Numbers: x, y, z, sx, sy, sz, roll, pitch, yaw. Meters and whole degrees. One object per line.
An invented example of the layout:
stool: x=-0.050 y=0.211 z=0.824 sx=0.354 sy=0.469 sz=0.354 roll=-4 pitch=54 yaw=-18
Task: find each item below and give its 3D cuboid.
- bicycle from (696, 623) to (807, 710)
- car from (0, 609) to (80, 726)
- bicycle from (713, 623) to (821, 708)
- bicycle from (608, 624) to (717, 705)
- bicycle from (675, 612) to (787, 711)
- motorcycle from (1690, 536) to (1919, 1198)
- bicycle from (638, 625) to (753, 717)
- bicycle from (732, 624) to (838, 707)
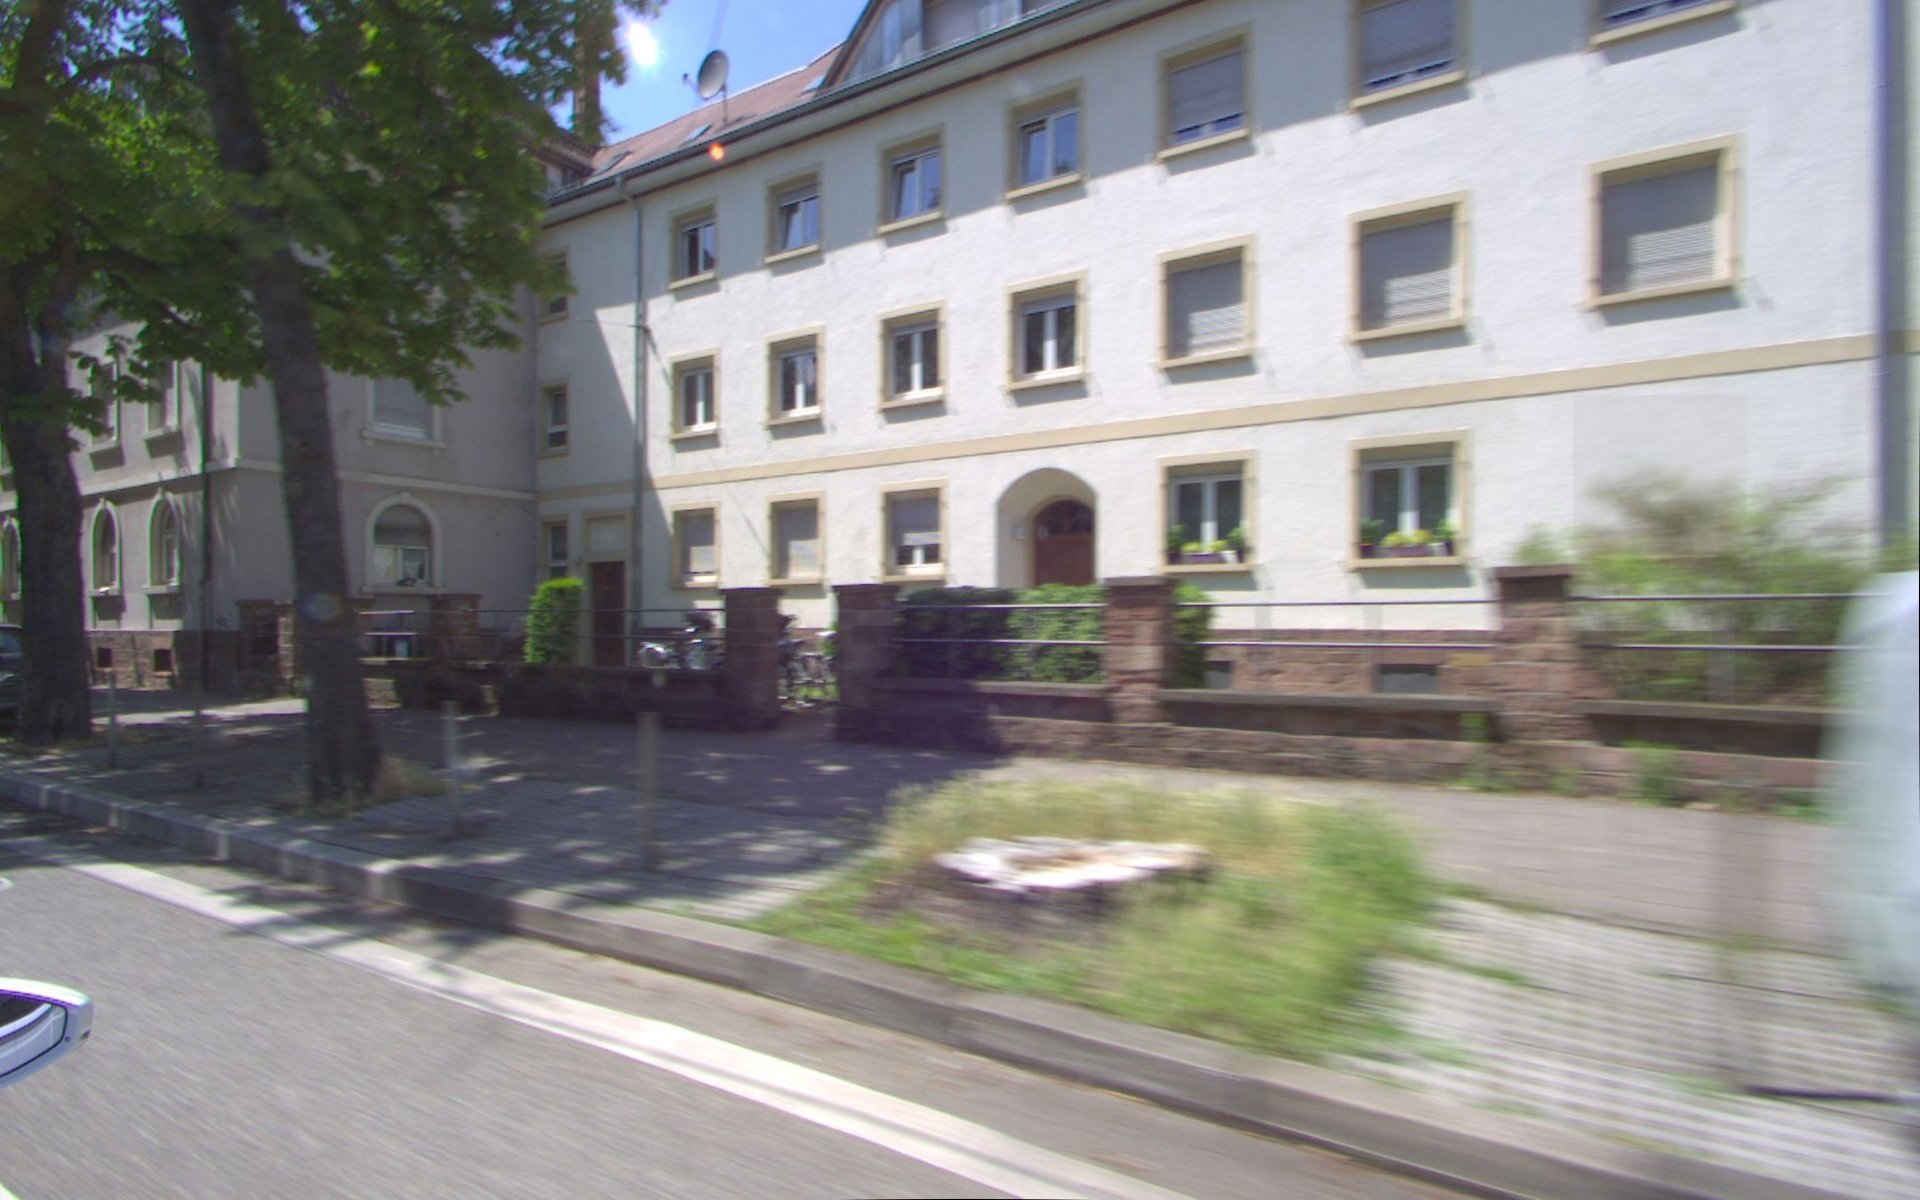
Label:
bicycle: x=-2.760 y=0.847 z=13.192 sx=1.542 sy=1.070 sz=0.458 roll=0 pitch=1 yaw=33
car: x=-14.527 y=0.916 z=14.284 sx=4.242 sy=1.521 sz=1.770 roll=0 pitch=1 yaw=32
bicycle: x=-2.616 y=0.862 z=13.493 sx=1.542 sy=1.070 sz=0.458 roll=0 pitch=1 yaw=33
bicycle: x=-4.147 y=0.872 z=13.948 sx=1.539 sy=1.070 sz=0.459 roll=0 pitch=1 yaw=26
bicycle: x=-2.956 y=0.762 z=12.868 sx=1.542 sy=1.207 sz=0.458 roll=0 pitch=1 yaw=33
motorcycle: x=3.334 y=0.640 z=2.786 sx=2.279 sy=1.560 sz=0.868 roll=0 pitch=0 yaw=-15
bicycle: x=-3.311 y=0.852 z=12.475 sx=1.542 sy=1.070 sz=0.458 roll=0 pitch=1 yaw=33
bicycle: x=-2.422 y=0.879 z=13.824 sx=1.542 sy=1.070 sz=0.458 roll=0 pitch=1 yaw=33
